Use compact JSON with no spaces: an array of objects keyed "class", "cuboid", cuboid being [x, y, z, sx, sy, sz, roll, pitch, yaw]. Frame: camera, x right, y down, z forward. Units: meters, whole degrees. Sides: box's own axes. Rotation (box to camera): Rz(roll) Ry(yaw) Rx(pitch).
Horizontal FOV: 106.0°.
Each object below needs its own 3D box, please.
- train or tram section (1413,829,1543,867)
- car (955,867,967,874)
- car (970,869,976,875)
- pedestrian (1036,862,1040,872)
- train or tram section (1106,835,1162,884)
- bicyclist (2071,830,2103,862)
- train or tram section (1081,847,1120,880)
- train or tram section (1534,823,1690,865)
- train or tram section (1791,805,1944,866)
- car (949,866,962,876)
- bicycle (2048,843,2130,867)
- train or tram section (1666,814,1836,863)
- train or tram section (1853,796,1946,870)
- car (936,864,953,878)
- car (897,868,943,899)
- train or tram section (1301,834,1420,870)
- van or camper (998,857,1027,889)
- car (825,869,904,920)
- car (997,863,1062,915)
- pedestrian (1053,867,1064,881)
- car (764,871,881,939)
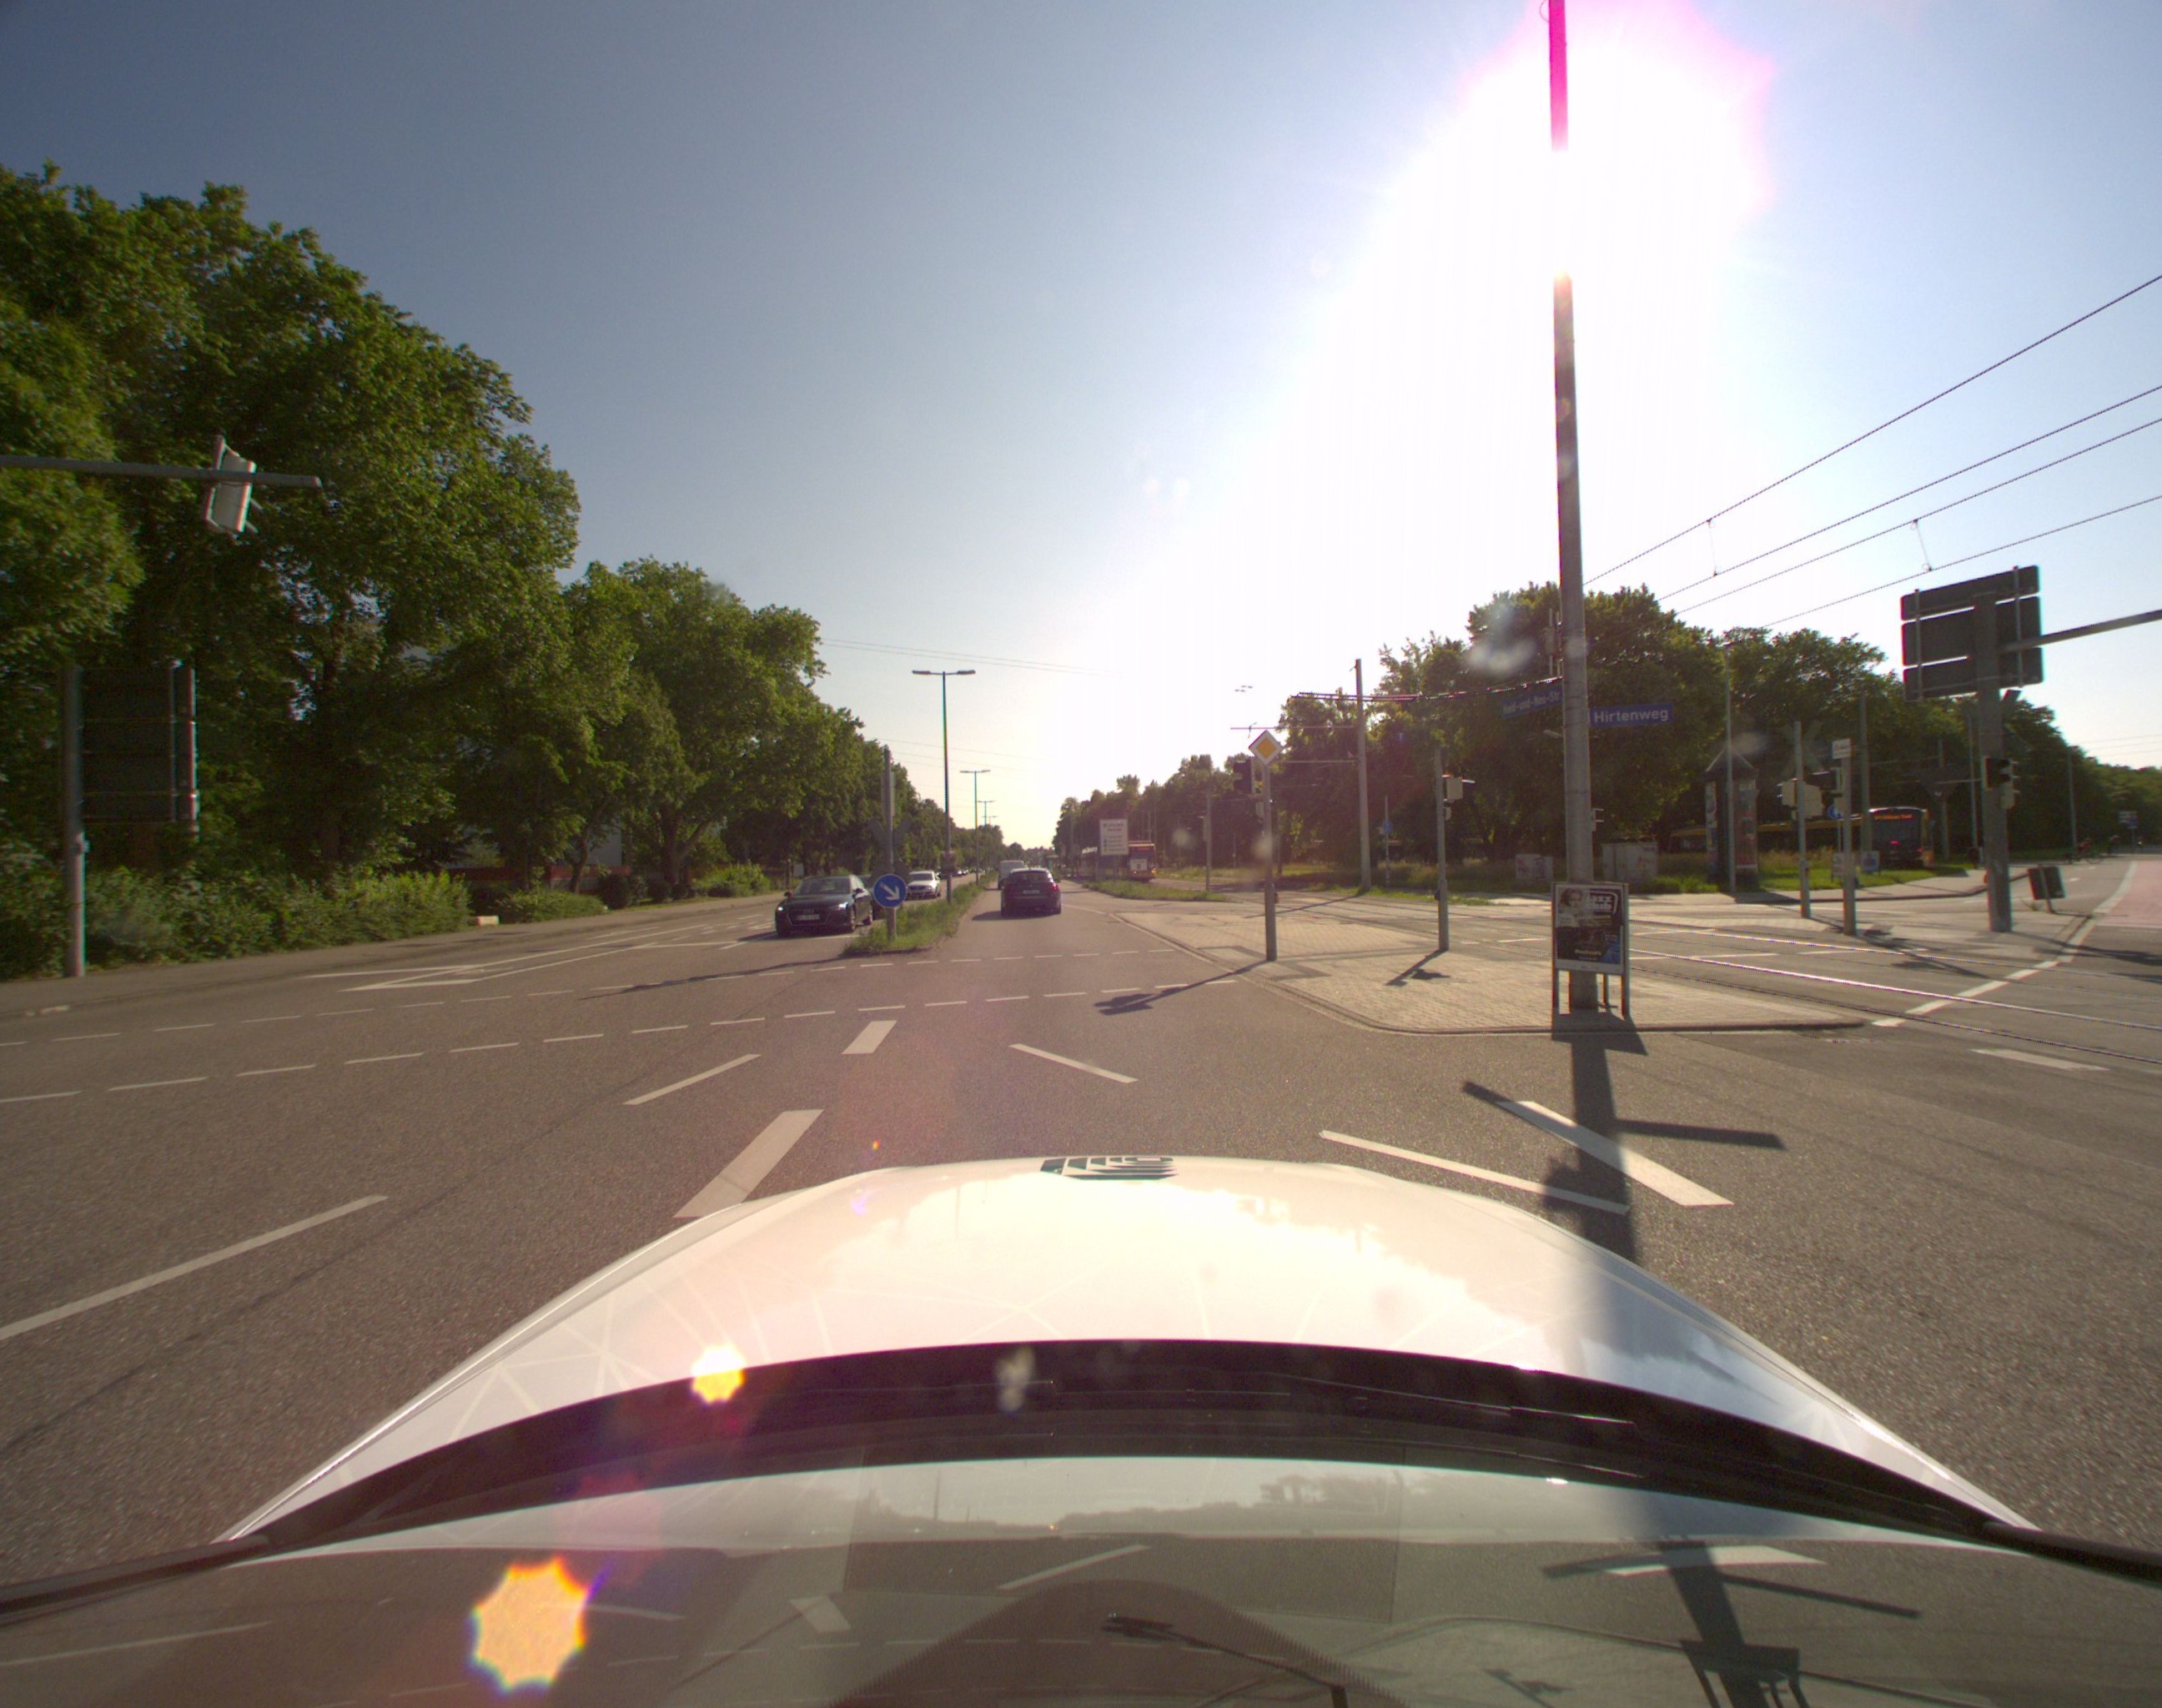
[{"class":"train or tram section","cuboid":[41.874,-0.520,86.181,12.074,3.580,3.073,-2,-1,29]},{"class":"car","cuboid":[-22.278,3.061,151.534,1.785,1.328,4.728,-1,0,-5]},{"class":"car","cuboid":[-27.874,4.530,210.152,1.531,1.486,3.991,-1,-1,-6]},{"class":"pedestrian","cuboid":[-9.000,2.635,169.723,0.698,2.014,0.701,-1,-1,-6]},{"class":"train or tram section","cuboid":[4.242,0.554,67.988,2.791,3.618,12.933,-1,-1,-5]},{"class":"bicyclist","cuboid":[65.836,-0.512,53.293,1.143,2.014,1.088,0,-2,-30]},{"class":"train or tram section","cuboid":[2.031,1.144,93.027,2.681,3.481,14.938,-1,-1,-5]},{"class":"train or tram section","cuboid":[50.538,-0.831,78.029,3.070,3.580,12.086,-1,-1,-40]},{"class":"train or tram section","cuboid":[52.719,-1.126,55.181,3.017,3.579,12.296,-2,-1,22]},{"class":"car","cuboid":[-20.245,2.716,131.407,1.786,1.415,4.377,-1,0,-6]},{"class":"bicycle","cuboid":[65.852,0.073,53.270,1.134,1.454,3.199,0,-2,-29]},{"class":"train or tram section","cuboid":[54.545,-1.107,67.035,3.040,3.579,12.206,-1,-1,-5]},{"class":"train or tram section","cuboid":[45.404,-1.074,45.014,11.917,3.579,3.017,-1,-1,-42]},{"class":"car","cuboid":[-17.406,2.149,103.964,1.786,1.772,4.560,-1,0,-5]},{"class":"car","cuboid":[-8.628,1.545,43.973,1.845,1.477,4.639,-1,0,-4]},{"class":"train or tram section","cuboid":[31.325,-0.204,91.532,12.287,3.580,3.071,-2,-1,24]},{"class":"van or camper","cuboid":[-4.894,1.314,58.109,1.991,2.096,4.589,-1,0,-5]},{"class":"car","cuboid":[-7.106,1.272,27.132,1.827,1.435,4.371,-2,0,-6]},{"class":"car","cuboid":[-1.712,1.063,26.389,1.900,1.506,4.057,-1,-1,-5]},{"class":"pedestrian","cuboid":[-2.532,2.267,93.377,0.989,1.634,0.725,-2,-1,26]},{"class":"car","cuboid":[-6.533,1.217,21.155,1.826,1.431,4.723,-3,-1,-5]}]
